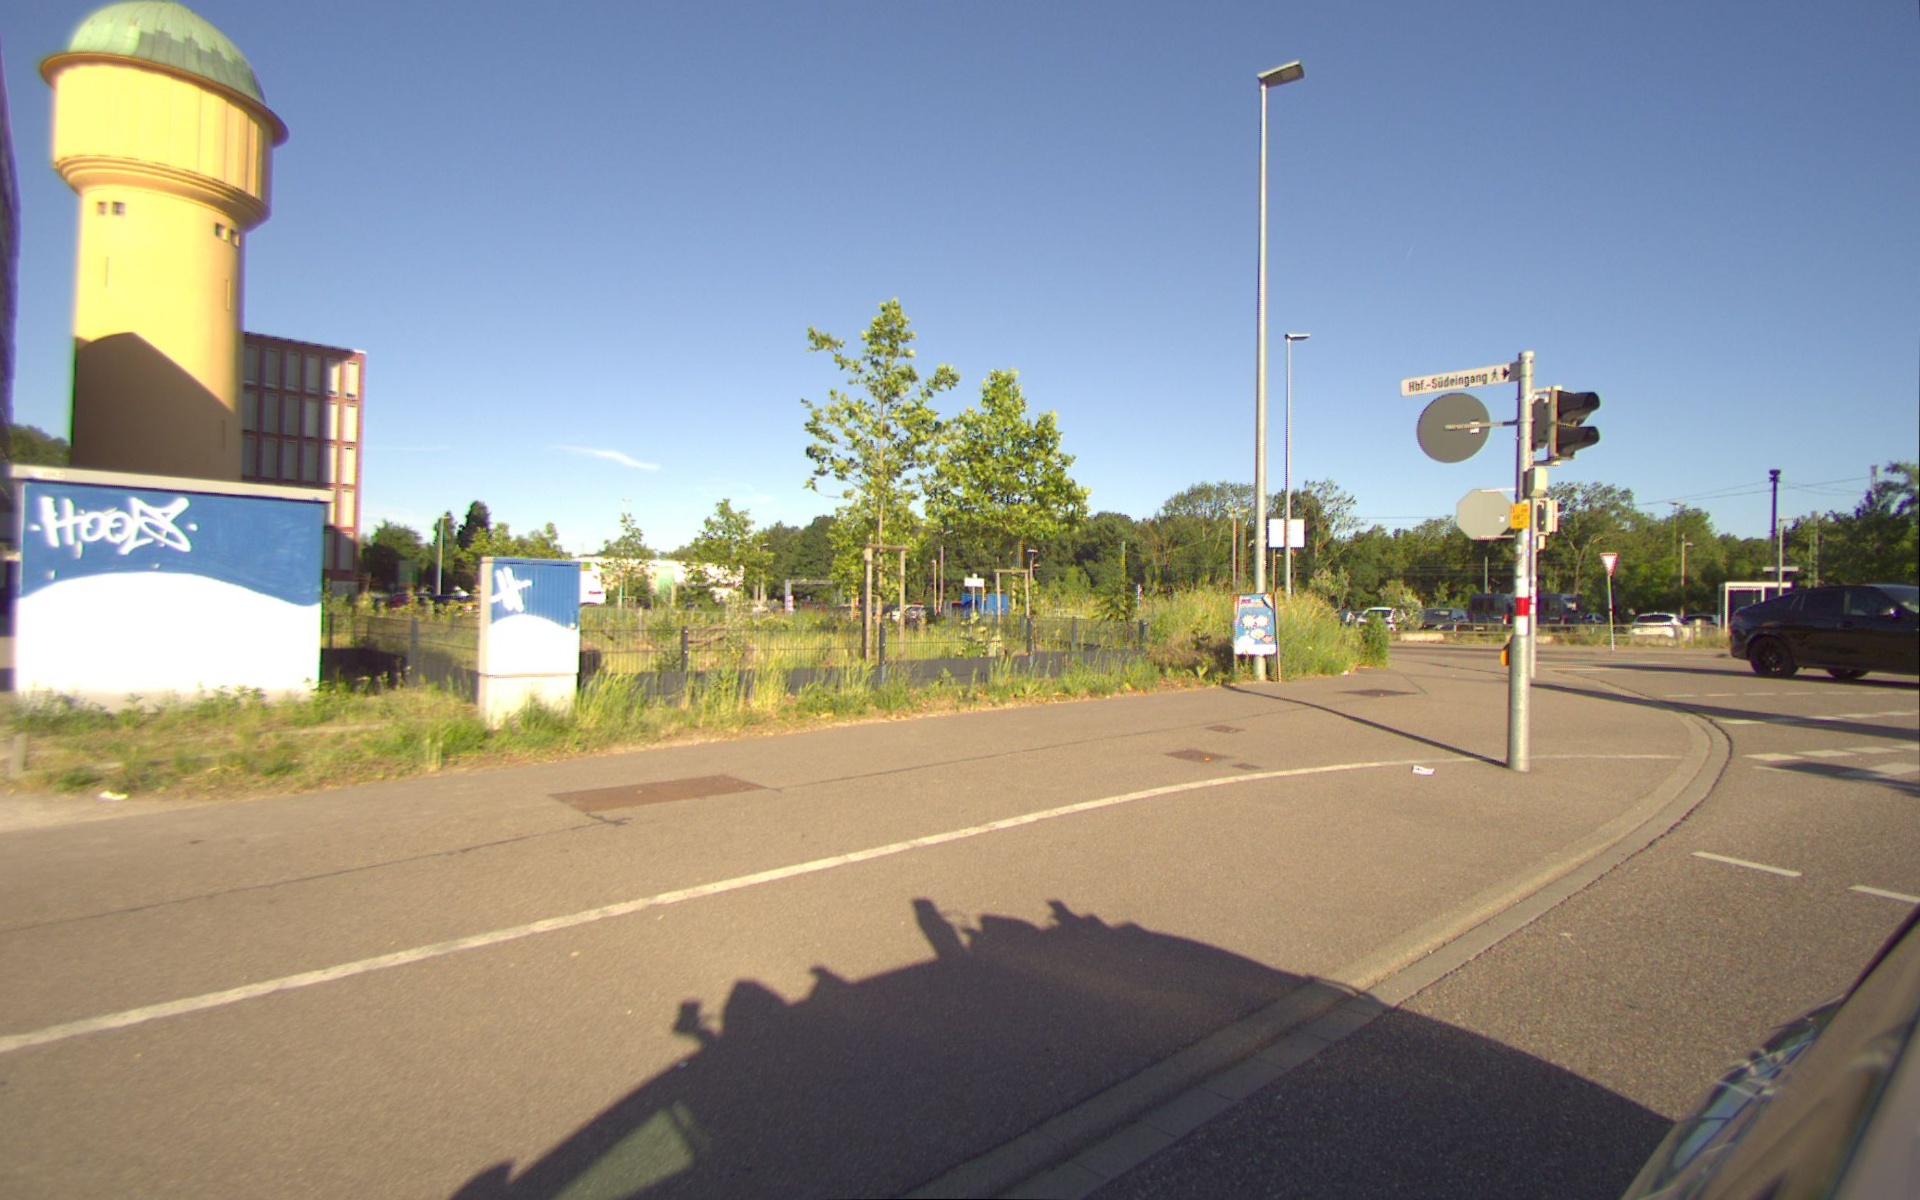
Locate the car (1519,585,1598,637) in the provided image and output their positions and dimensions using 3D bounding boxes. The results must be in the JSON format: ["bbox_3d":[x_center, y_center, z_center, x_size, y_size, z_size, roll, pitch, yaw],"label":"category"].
[{"bbox_3d":[31.321,0.566,52.898,2.394,2.549,5.425,-1,-1,44],"label":"car"}]

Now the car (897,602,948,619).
[{"bbox_3d":[-3.244,0.872,88.968,1.940,1.395,4.377,0,0,44],"label":"car"}]

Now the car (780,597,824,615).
[{"bbox_3d":[-16.040,0.602,102.717,4.001,1.799,1.868,-1,0,-38],"label":"car"}]

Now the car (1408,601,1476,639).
[{"bbox_3d":[22.425,0.882,47.032,1.865,1.675,4.083,-1,0,41],"label":"car"}]

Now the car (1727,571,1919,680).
[{"bbox_3d":[16.019,0.397,17.038,2.005,1.736,4.760,0,0,-13],"label":"car"}]

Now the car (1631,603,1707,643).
[{"bbox_3d":[28.907,0.916,41.212,1.886,1.530,4.204,0,-1,45],"label":"car"}]

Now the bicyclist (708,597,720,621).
[{"bbox_3d":[-19.665,0.719,80.784,0.559,1.895,0.851,1,-1,-44],"label":"bicyclist"}]

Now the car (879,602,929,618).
[{"bbox_3d":[-5.017,0.875,90.852,1.863,1.395,4.377,0,0,44],"label":"car"}]

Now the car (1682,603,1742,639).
[{"bbox_3d":[39.404,1.055,53.024,1.981,1.832,4.135,-1,-1,44],"label":"car"}]

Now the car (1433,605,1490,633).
[{"bbox_3d":[28.570,1.050,57.655,3.690,1.527,1.829,1,-1,-45],"label":"car"}]

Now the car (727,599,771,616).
[{"bbox_3d":[-22.687,0.803,108.926,1.863,1.801,4.378,-1,-1,43],"label":"car"}]

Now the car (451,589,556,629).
[{"bbox_3d":[-22.168,0.457,49.252,4.260,1.851,1.995,1,-1,-44],"label":"car"}]

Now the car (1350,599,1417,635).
[{"bbox_3d":[20.485,0.824,48.854,1.879,1.631,3.997,0,-1,41],"label":"car"}]

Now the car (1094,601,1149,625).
[{"bbox_3d":[11.738,0.930,73.445,1.980,1.609,4.137,0,0,44],"label":"car"}]

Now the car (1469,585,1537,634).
[{"bbox_3d":[29.247,0.526,54.457,2.122,2.499,4.411,-1,-1,44],"label":"car"}]

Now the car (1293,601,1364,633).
[{"bbox_3d":[18.587,0.847,50.962,3.933,1.535,1.851,1,-1,-44],"label":"car"}]

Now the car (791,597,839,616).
[{"bbox_3d":[-14.289,0.605,99.998,4.366,1.799,1.868,-1,0,-38],"label":"car"}]

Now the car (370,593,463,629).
[{"bbox_3d":[-31.733,0.658,59.125,4.454,2.039,1.996,1,-1,-42],"label":"car"}]
